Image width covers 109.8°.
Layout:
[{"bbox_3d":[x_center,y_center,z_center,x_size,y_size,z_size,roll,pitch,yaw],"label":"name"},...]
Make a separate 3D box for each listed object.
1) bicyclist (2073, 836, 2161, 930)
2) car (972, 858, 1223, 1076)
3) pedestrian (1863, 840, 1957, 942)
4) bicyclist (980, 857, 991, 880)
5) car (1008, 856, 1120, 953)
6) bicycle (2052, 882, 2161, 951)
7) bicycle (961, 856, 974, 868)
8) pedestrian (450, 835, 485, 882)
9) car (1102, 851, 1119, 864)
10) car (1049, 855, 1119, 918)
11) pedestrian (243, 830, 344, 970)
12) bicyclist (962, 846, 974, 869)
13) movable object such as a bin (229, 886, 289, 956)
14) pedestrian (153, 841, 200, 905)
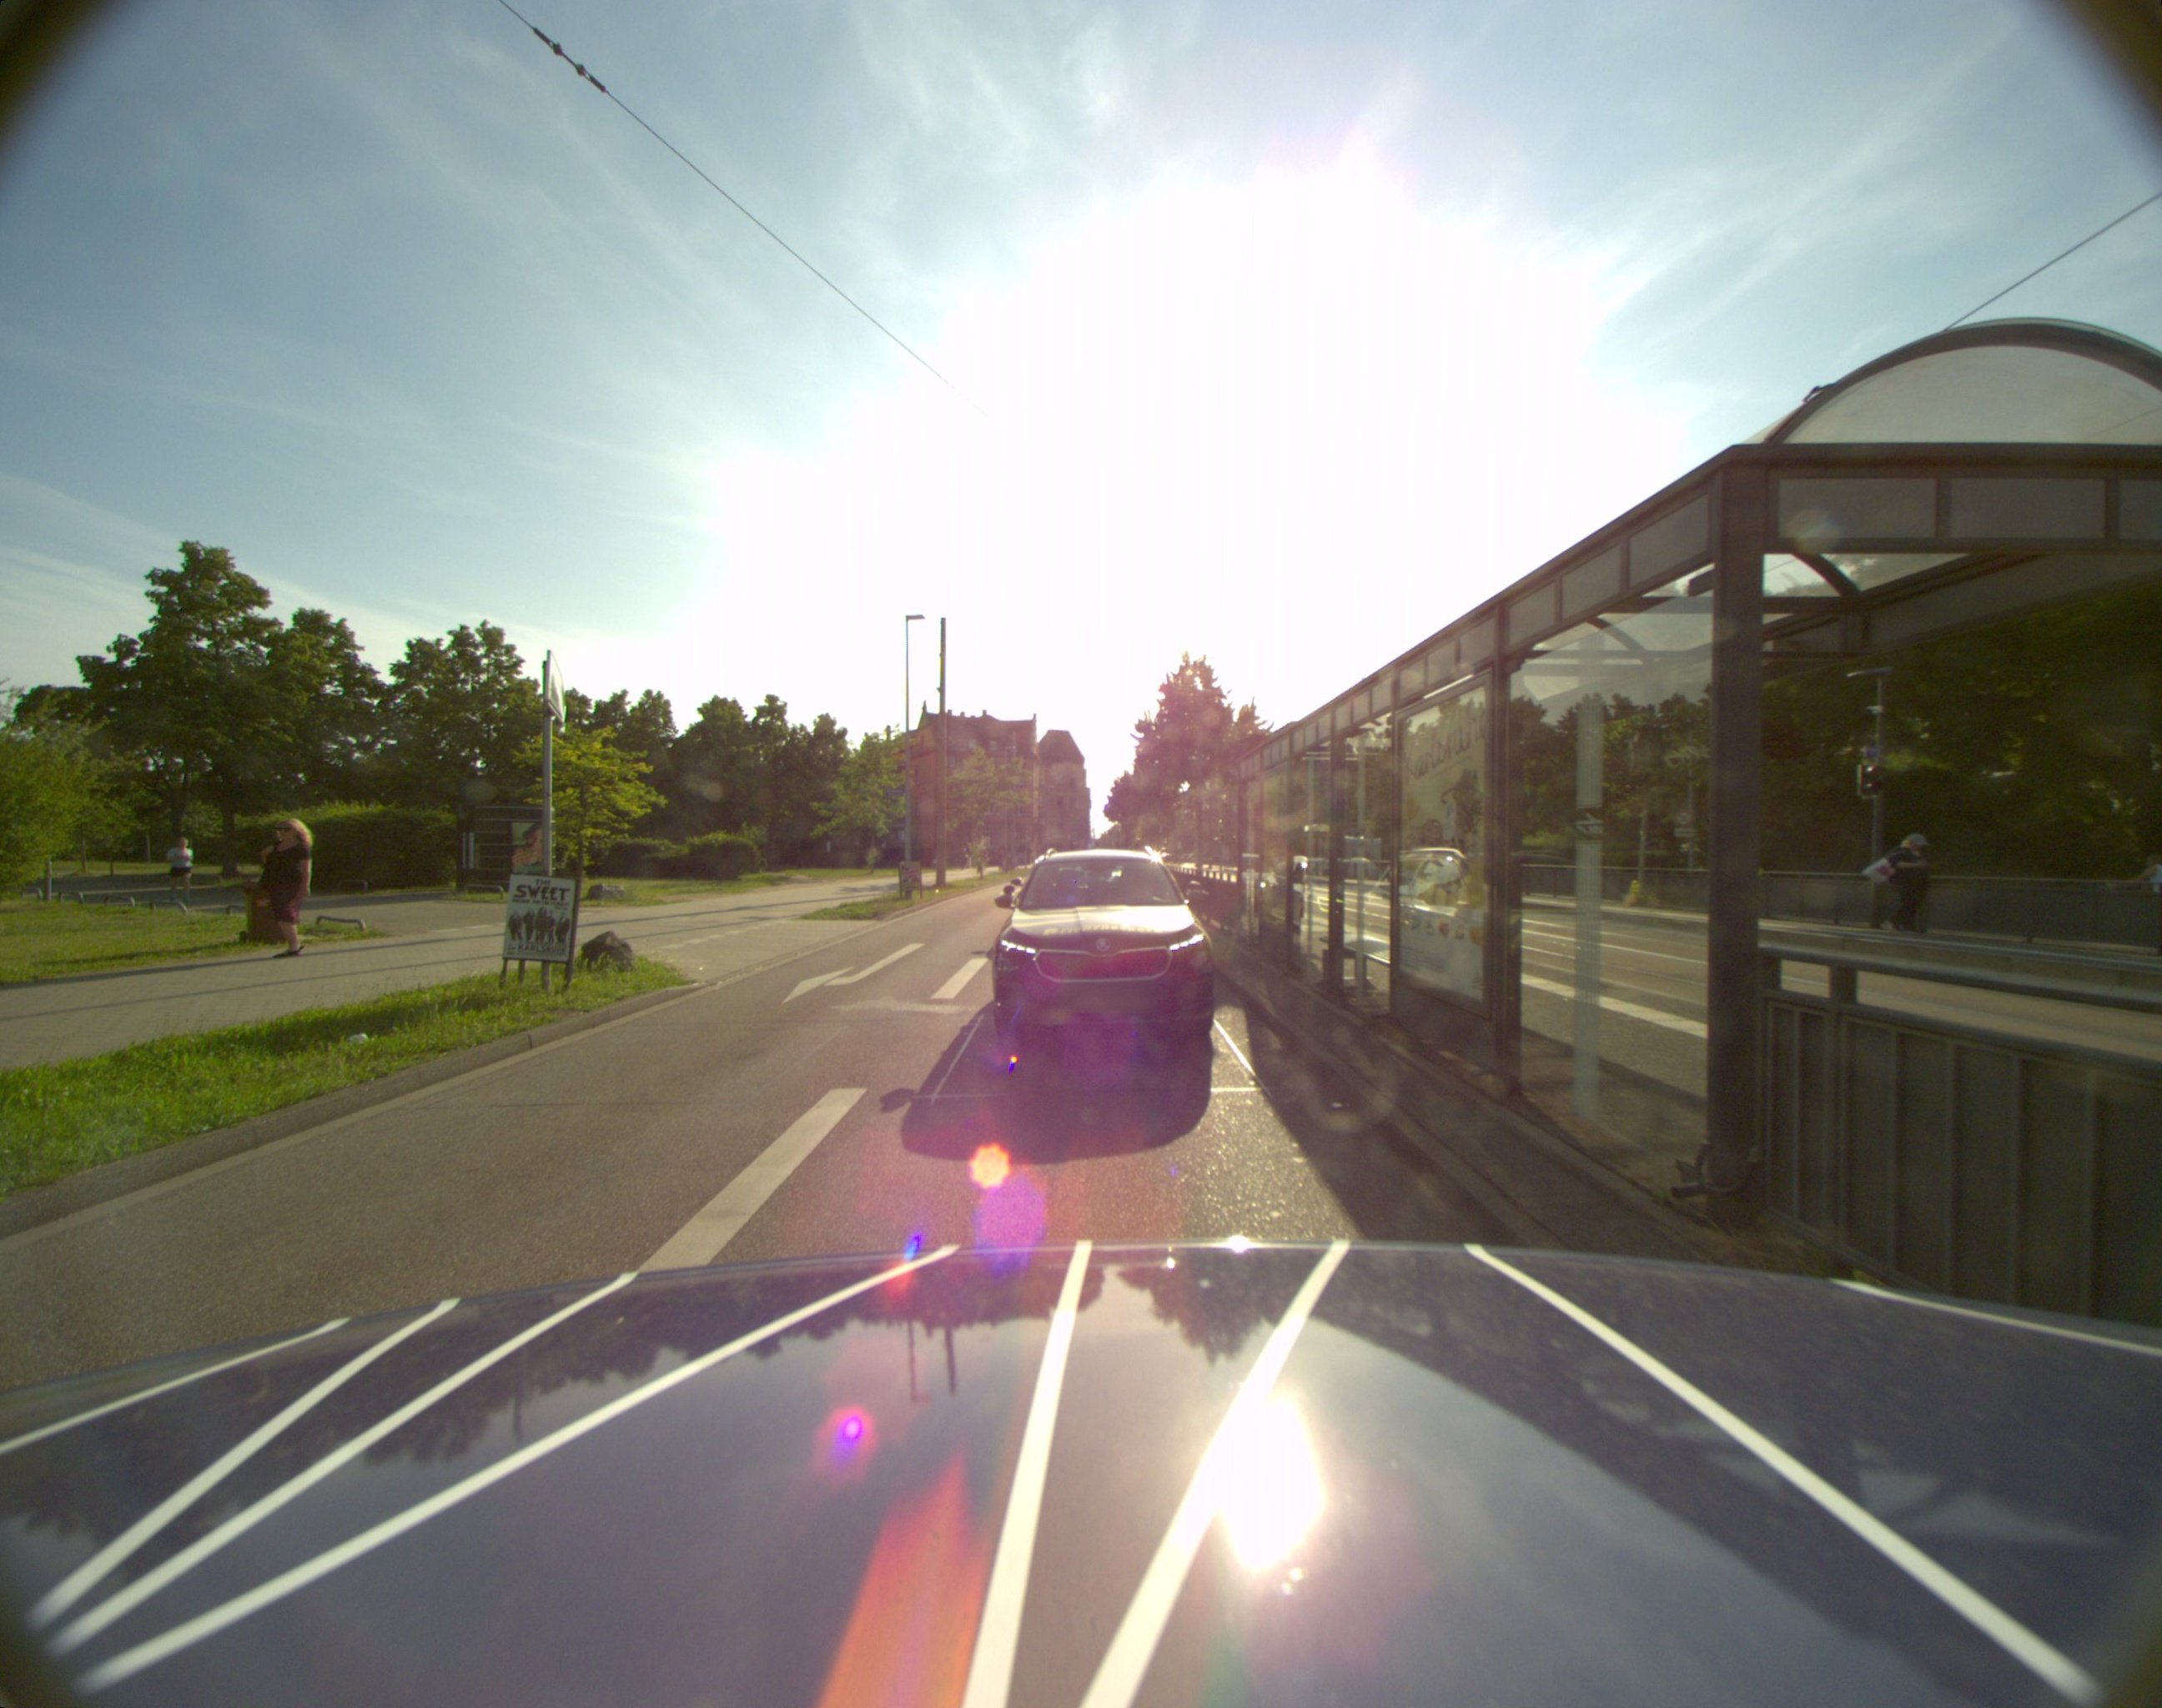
[{"bbox_3d":[19.090,0.502,13.804,0.706,1.614,1.072,-3,0,2],"label":"bicyclist"},{"bbox_3d":[0.144,0.822,7.425,1.781,1.496,4.000,0,1,1],"label":"car"},{"bbox_3d":[13.404,0.580,12.305,0.736,1.619,0.689,0,1,1],"label":"pedestrian"},{"bbox_3d":[-7.467,1.112,59.649,0.730,1.763,1.015,0,1,0],"label":"bicyclist"},{"bbox_3d":[-0.244,0.812,14.149,1.781,1.496,4.000,0,1,1],"label":"car"},{"bbox_3d":[19.127,1.112,13.750,0.727,1.103,1.865,-2,0,2],"label":"bicycle"},{"bbox_3d":[-8.814,0.638,59.108,0.740,0.912,2.094,0,1,0],"label":"bicycle"},{"bbox_3d":[-28.684,0.213,35.544,0.910,2.145,0.891,0,1,13],"label":"pedestrian"},{"bbox_3d":[3.982,0.470,102.465,1.999,1.674,3.999,0,0,-1],"label":"car"},{"bbox_3d":[0.102,0.792,20.331,1.672,1.496,3.871,0,1,1],"label":"car"},{"bbox_3d":[-9.839,0.555,9.515,0.558,1.691,0.662,0,1,0],"label":"pedestrian"},{"bbox_3d":[-8.824,0.287,59.192,0.754,1.763,1.118,0,1,0],"label":"bicyclist"},{"bbox_3d":[-11.381,0.917,10.522,0.502,0.898,0.526,1,1,39],"label":"movable object such as a bin"},{"bbox_3d":[-23.533,0.488,19.777,0.660,1.642,0.623,1,1,26],"label":"pedestrian"}]
